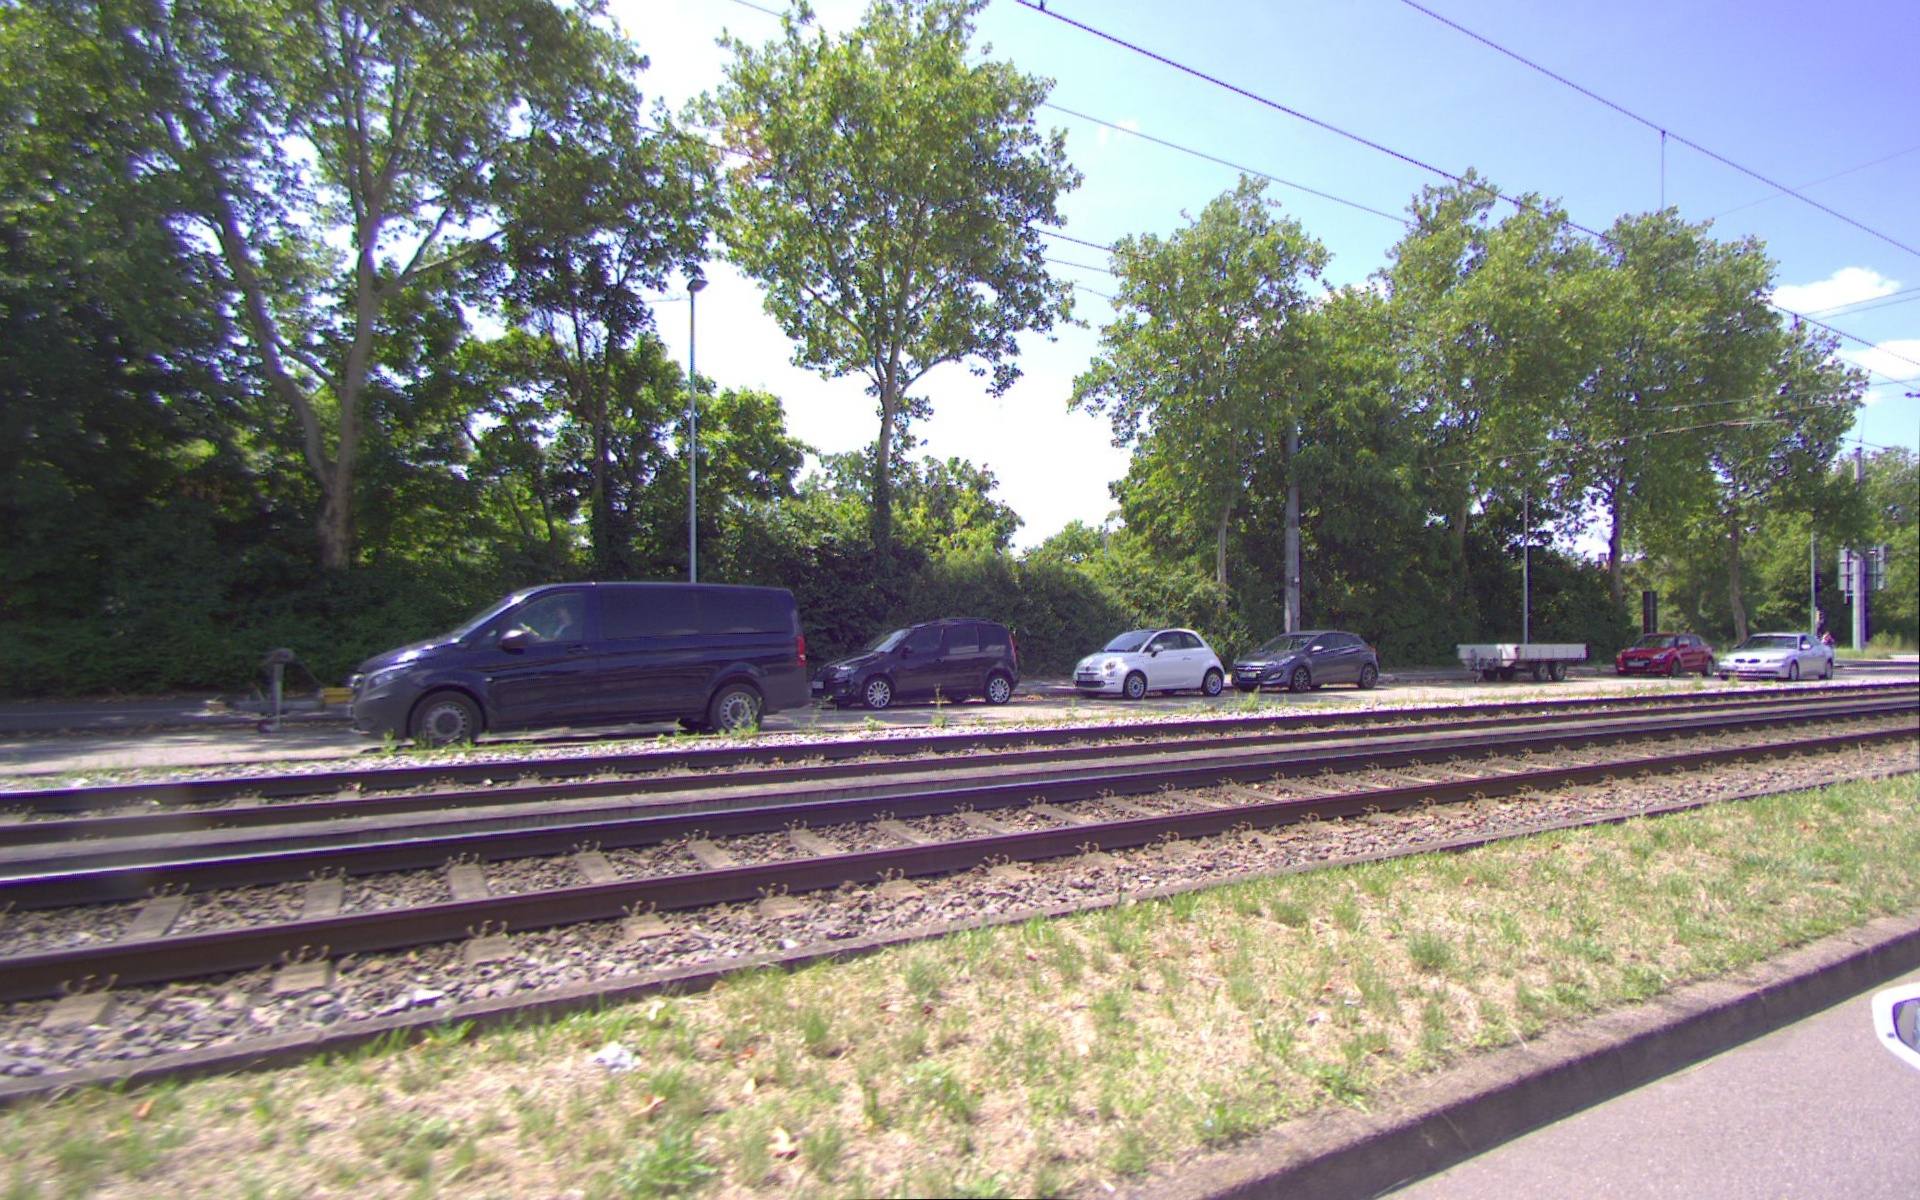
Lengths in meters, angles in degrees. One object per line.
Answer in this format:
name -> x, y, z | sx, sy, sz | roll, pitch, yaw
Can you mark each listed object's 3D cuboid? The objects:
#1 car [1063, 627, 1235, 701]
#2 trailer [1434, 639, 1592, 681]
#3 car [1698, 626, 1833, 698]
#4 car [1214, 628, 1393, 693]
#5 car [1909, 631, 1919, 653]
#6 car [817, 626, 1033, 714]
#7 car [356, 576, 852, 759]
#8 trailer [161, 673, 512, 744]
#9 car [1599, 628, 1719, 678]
car -> 4.164, 1.350, 21.970 | 3.699, 1.470, 1.426 | 1, 0, -32
trailer -> 16.472, 1.741, 29.827 | 5.046, 1.058, 1.883 | 1, 0, -32
car -> 24.883, 1.869, 31.020 | 3.953, 2.040, 1.984 | 1, -1, -31
car -> 8.509, 1.441, 24.805 | 4.369, 1.419, 1.860 | 1, 0, -32
car -> 71.086, 3.066, 73.032 | 3.952, 1.595, 1.984 | 1, -1, -30
car -> -0.606, 1.253, 18.912 | 3.878, 1.470, 1.426 | 1, 0, -32
car -> -4.196, 0.717, 12.234 | 5.343, 1.814, 2.106 | 1, 0, -31
trailer -> -8.618, 1.473, 14.245 | 3.954, 0.752, 1.984 | 2, -2, -31
car -> 24.187, 1.805, 34.745 | 3.954, 1.595, 1.984 | 1, -1, -31
